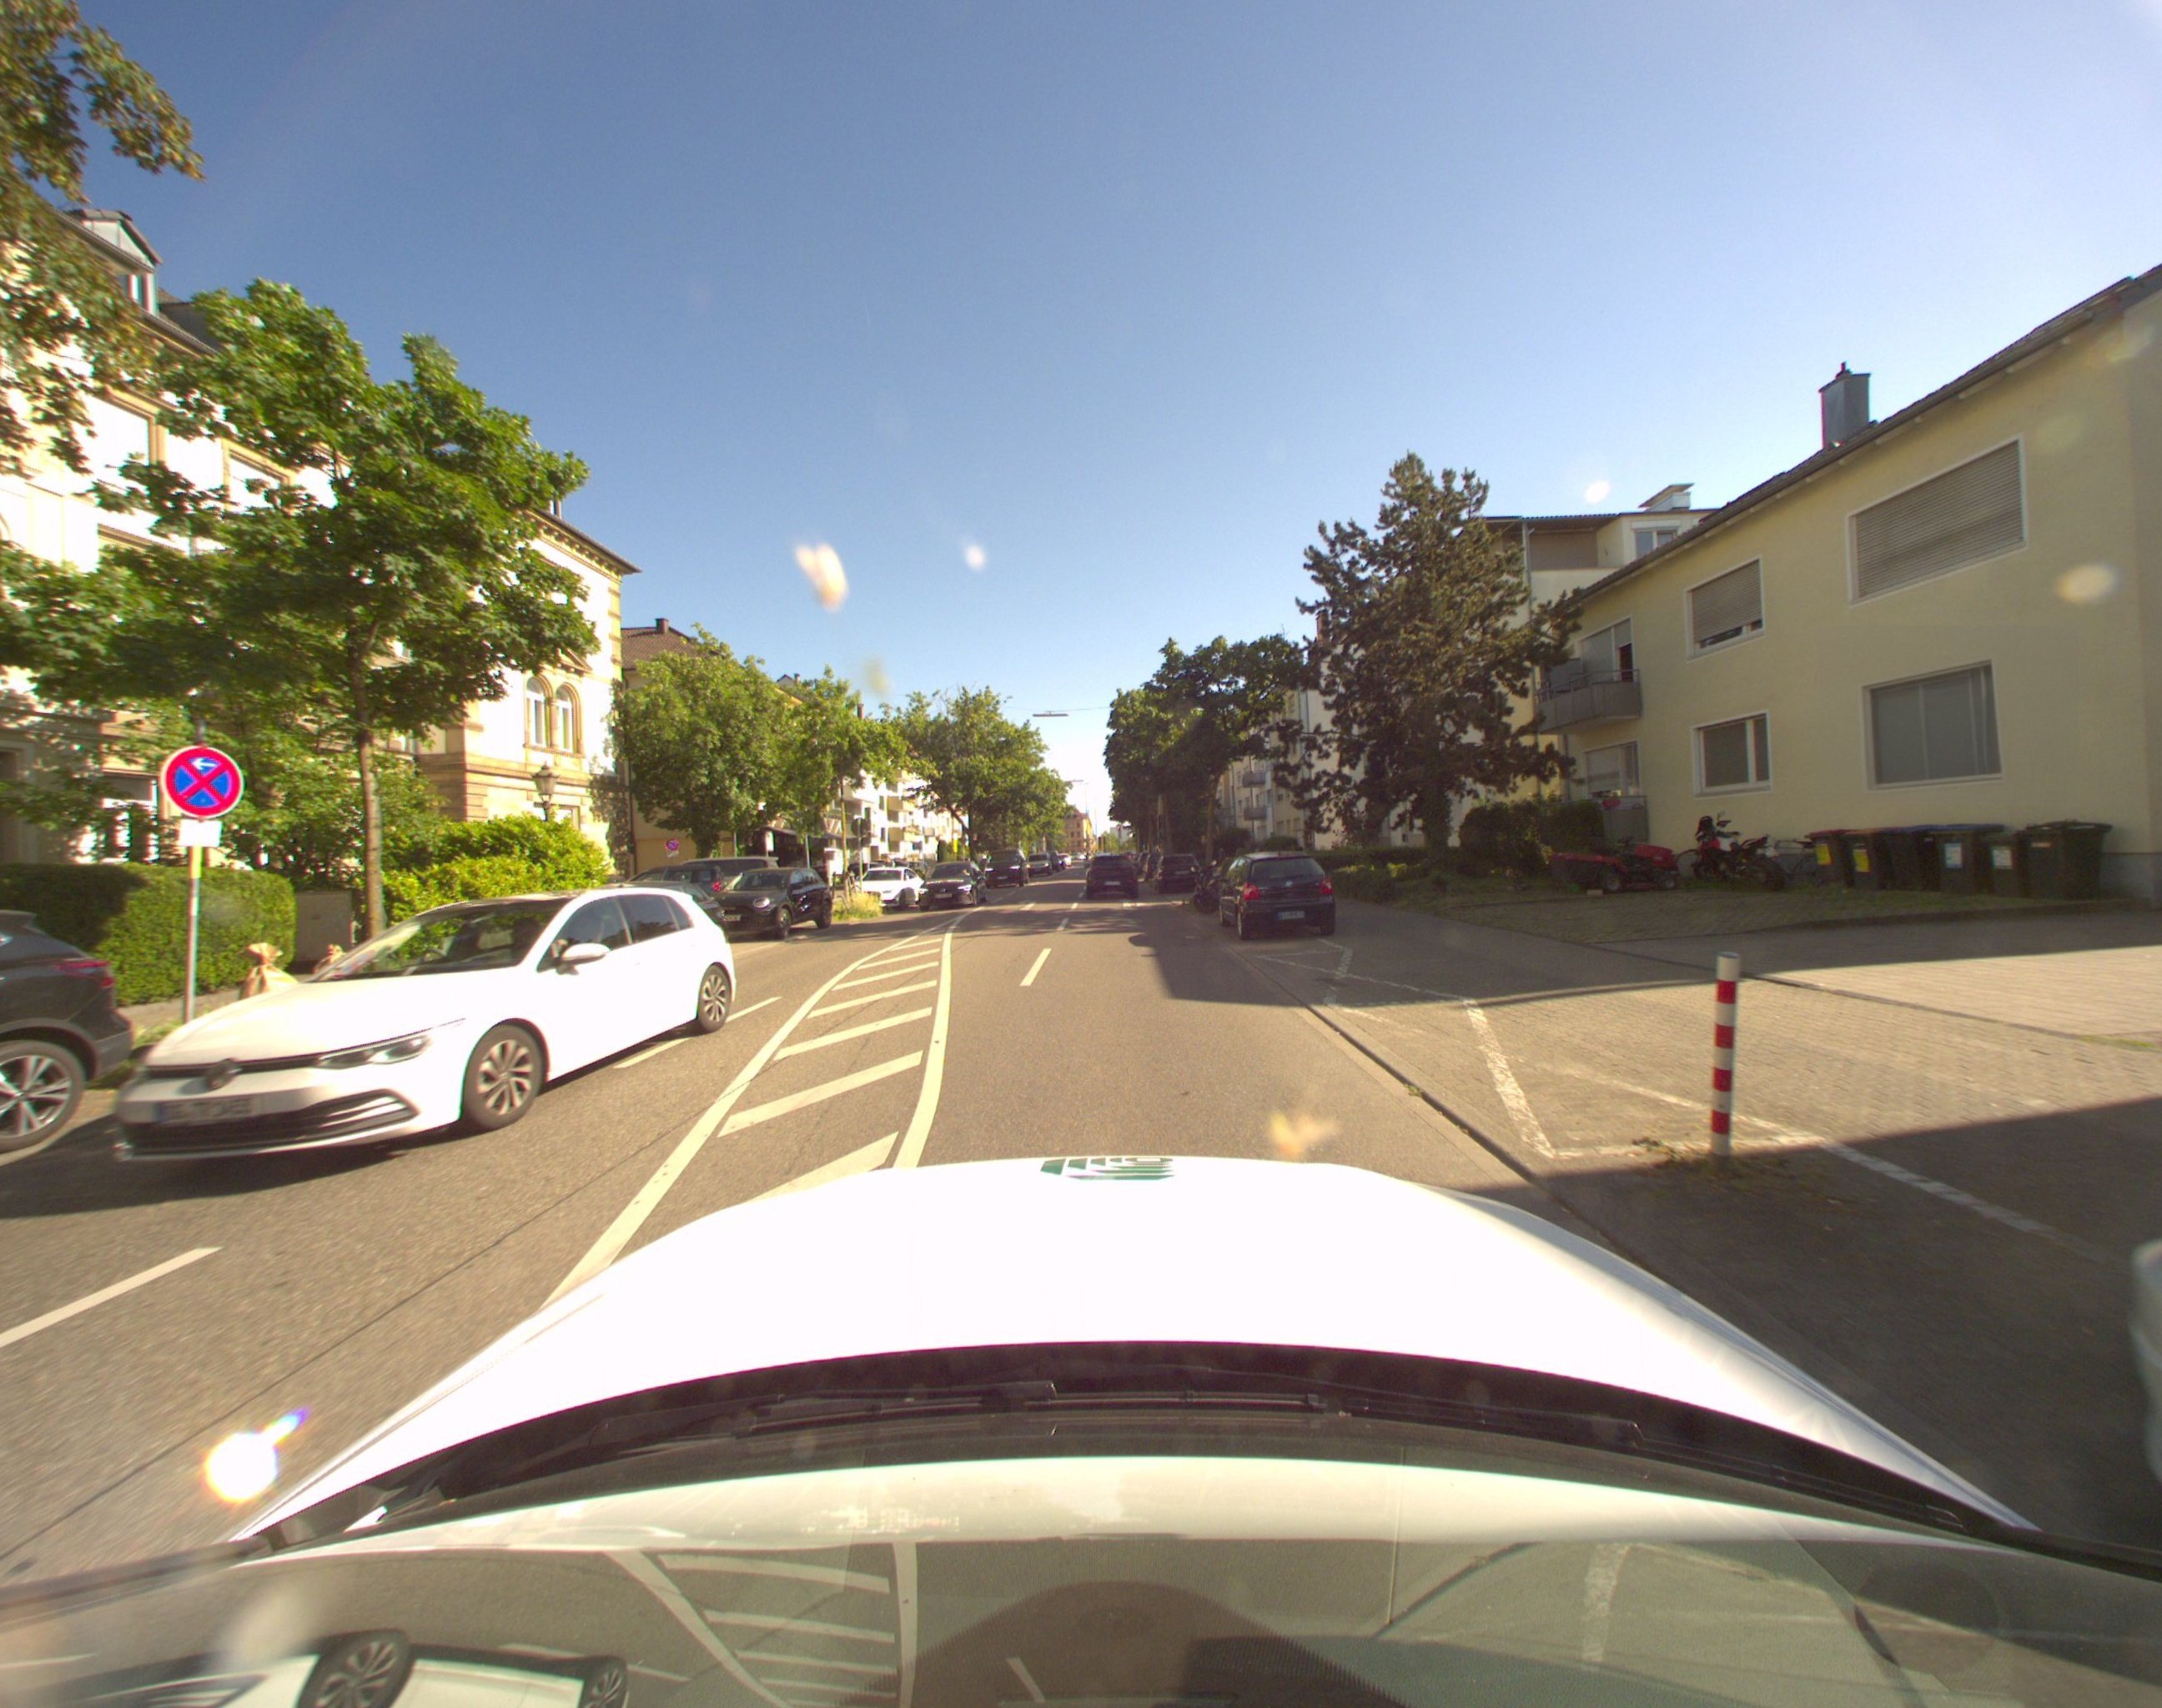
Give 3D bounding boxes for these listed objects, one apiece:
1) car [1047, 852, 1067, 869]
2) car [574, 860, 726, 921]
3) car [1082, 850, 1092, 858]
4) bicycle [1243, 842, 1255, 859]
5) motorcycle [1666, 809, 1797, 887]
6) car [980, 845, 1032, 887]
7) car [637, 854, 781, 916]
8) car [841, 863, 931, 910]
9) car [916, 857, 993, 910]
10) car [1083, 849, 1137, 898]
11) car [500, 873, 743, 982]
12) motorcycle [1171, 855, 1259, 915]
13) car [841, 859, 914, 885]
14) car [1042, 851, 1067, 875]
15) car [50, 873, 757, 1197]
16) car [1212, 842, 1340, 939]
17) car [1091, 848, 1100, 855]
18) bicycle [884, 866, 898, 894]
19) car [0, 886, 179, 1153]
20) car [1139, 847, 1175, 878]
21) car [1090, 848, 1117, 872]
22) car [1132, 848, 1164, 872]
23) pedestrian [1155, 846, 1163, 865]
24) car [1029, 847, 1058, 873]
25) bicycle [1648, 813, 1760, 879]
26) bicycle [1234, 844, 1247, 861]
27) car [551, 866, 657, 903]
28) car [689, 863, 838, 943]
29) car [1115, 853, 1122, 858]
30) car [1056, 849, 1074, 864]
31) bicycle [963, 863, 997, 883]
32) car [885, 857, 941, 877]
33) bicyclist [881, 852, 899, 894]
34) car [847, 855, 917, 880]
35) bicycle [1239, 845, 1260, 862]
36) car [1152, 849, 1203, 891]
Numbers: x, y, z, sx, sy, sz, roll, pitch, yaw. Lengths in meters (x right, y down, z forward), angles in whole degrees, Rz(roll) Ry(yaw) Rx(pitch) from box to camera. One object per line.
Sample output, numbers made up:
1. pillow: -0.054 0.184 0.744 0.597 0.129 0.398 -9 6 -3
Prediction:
1. car: -2.473 0.618 84.419 1.713 1.566 4.344 -5 0 1
2. car: -13.169 1.067 25.149 3.924 1.644 1.668 -2 1 -23
3. car: 1.275 -0.046 163.830 1.764 1.452 3.889 -3 0 4
4. bicycle: 13.810 -0.299 66.840 0.589 1.287 1.690 -5 0 2
5. motorcycle: 12.672 -0.118 15.980 0.634 1.375 2.427 -3 0 2
6. car: -3.878 0.585 43.021 2.009 1.952 5.179 -4 0 1
7. car: -12.695 1.012 28.023 4.334 1.879 1.865 -2 1 -24
8. car: -6.670 1.068 28.364 1.827 1.389 4.804 -1 0 2
9. car: -4.054 0.904 26.777 1.685 1.453 4.174 -5 0 1
10. car: 1.014 0.634 28.669 1.739 1.573 3.559 -1 0 2
11. car: -7.386 1.091 13.632 1.630 1.416 4.091 -1 0 2
12. motorcycle: 3.106 0.710 19.181 0.701 1.271 2.411 -4 0 -26
13. car: -12.456 1.113 49.827 3.954 1.456 1.742 -1 1 19
14. car: -2.395 0.777 74.049 1.796 1.910 4.714 -5 0 2
15. car: -4.309 0.976 6.264 1.727 1.412 4.194 -5 0 2
16. car: 3.476 0.577 15.130 1.613 1.499 3.652 -3 0 3
17. car: 3.250 -0.553 186.030 1.764 1.452 3.889 -3 0 4
18. bicycle: -8.617 1.168 37.005 0.448 1.193 2.184 -3 0 -11
19. car: -7.448 1.053 3.771 1.619 1.588 4.349 -1 0 1
20. car: 3.959 0.412 42.744 1.684 1.428 4.152 -3 0 4
21. car: 1.684 0.421 59.719 1.823 1.578 3.842 -3 0 2
22. car: 4.496 0.370 55.125 1.708 1.489 4.234 -3 0 0
23. pedestrian: 7.023 0.115 73.354 0.667 1.682 0.776 -3 0 1
24. car: -2.870 0.441 63.193 1.809 1.742 4.494 -5 0 1
25. bicycle: 13.527 -0.175 17.790 0.595 1.303 2.427 -3 0 2
26. bicycle: 13.091 -0.138 66.940 0.620 1.287 1.843 -5 0 2
27. car: -22.663 1.424 38.762 3.972 1.442 1.647 -3 1 1
28. car: -7.205 1.049 18.954 1.671 1.555 4.011 -2 0 3
29. car: 11.457 0.382 246.929 1.985 1.519 4.004 0 0 3
30. car: -1.913 0.254 98.338 1.800 1.648 4.673 -5 0 1
31. bicycle: -5.870 1.115 47.236 2.005 1.091 0.465 -1 0 24
32. car: -13.158 1.009 63.928 3.973 1.486 1.881 -2 1 1
33. bicyclist: -8.684 0.863 37.112 0.658 1.824 1.051 -3 0 -10
34. car: -12.814 0.886 52.489 3.962 1.461 1.738 -1 1 10
35. bicycle: 13.487 -0.059 65.254 1.520 1.222 0.466 -5 0 32
36. car: 3.668 0.564 31.559 1.580 1.396 4.457 -4 0 2
